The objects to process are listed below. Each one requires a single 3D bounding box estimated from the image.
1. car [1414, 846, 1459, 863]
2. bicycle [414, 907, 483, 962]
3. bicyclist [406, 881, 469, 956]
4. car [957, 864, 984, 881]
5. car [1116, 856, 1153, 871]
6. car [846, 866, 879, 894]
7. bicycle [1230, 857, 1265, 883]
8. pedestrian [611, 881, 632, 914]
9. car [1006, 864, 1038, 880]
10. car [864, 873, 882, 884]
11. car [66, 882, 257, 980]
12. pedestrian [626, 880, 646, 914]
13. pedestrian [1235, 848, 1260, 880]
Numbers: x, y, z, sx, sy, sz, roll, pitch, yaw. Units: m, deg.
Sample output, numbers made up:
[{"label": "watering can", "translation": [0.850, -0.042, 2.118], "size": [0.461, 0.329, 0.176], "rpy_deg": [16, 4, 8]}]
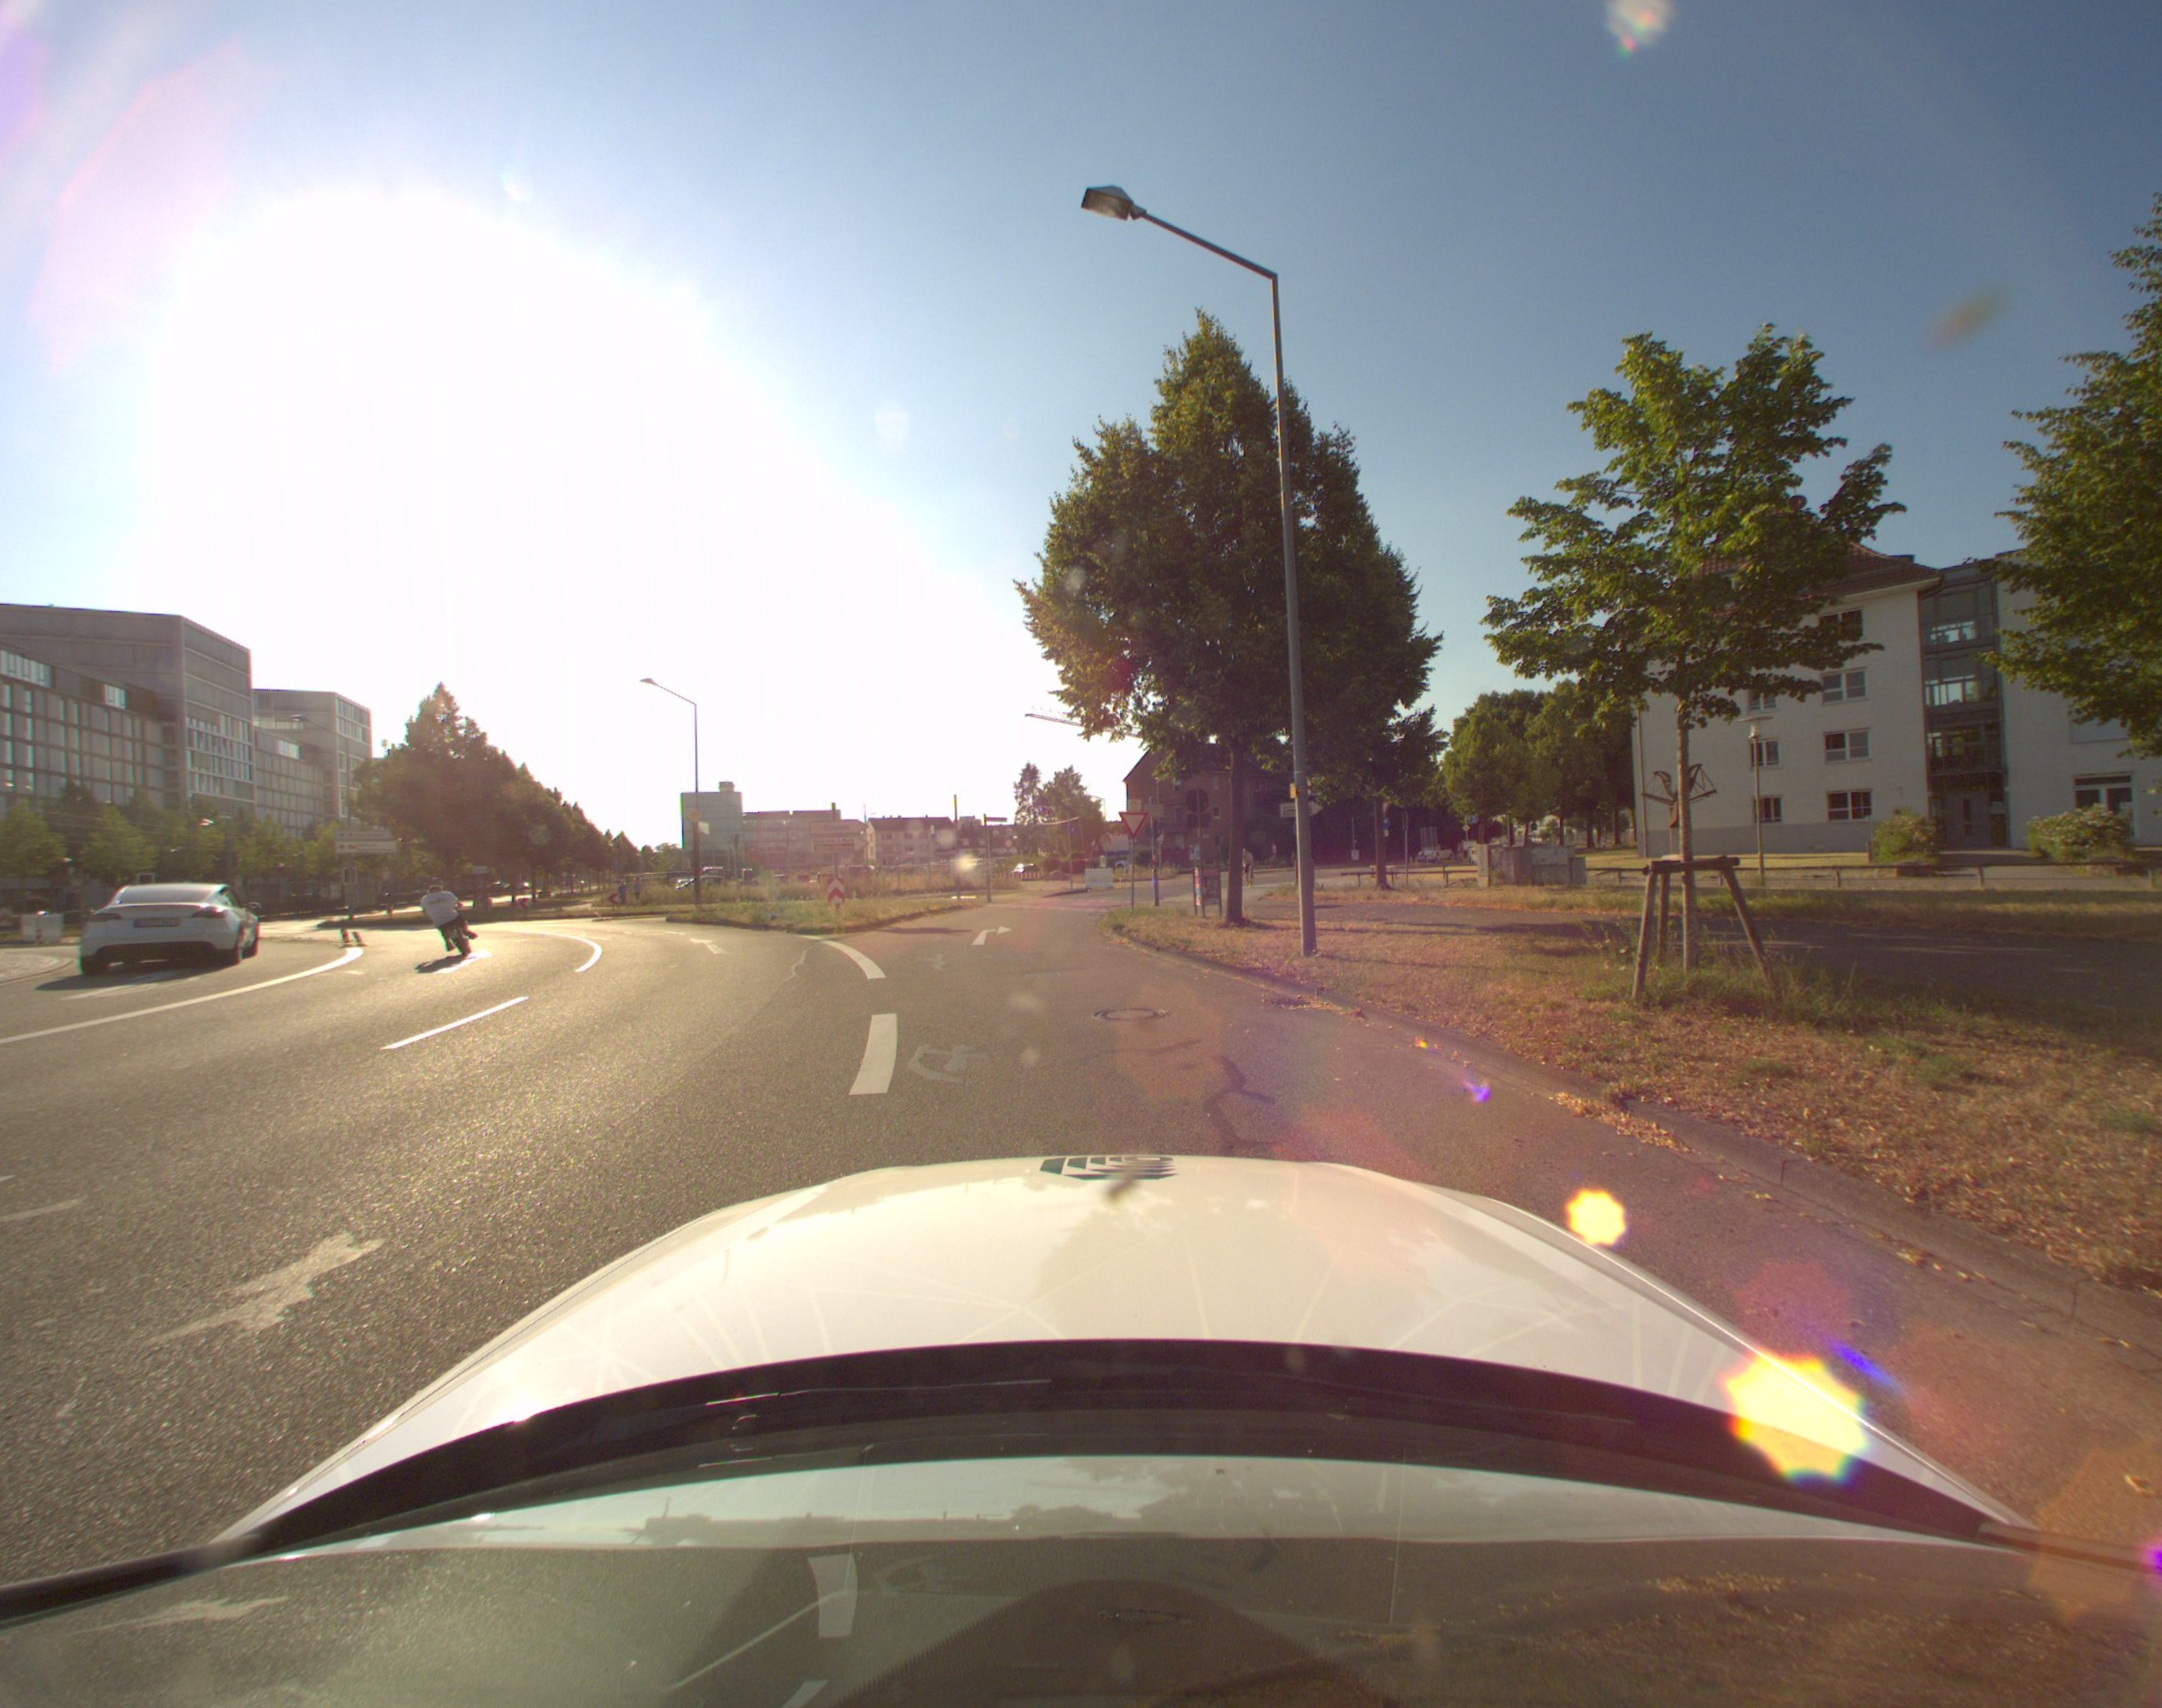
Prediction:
[{"label": "car", "translation": [31.649, 0.048, 72.477], "size": [3.631, 1.421, 1.750], "rpy_deg": [-2, 0, -26]}, {"label": "bicycle", "translation": [-12.540, 1.573, 16.197], "size": [0.854, 0.928, 1.702], "rpy_deg": [-2, -1, -31]}, {"label": "bicyclist", "translation": [-12.676, 1.249, 16.076], "size": [0.873, 1.410, 0.622], "rpy_deg": [-1, -1, -30]}, {"label": "car", "translation": [-13.677, 2.266, 100.629], "size": [1.874, 1.948, 3.962], "rpy_deg": [-2, -1, -29]}, {"label": "car", "translation": [6.357, 1.146, 96.565], "size": [3.959, 1.530, 2.007], "rpy_deg": [-3, -1, 13]}, {"label": "car", "translation": [-17.113, 2.000, 63.924], "size": [1.994, 2.013, 5.293], "rpy_deg": [-3, -1, -10]}, {"label": "bicycle", "translation": [7.495, 0.719, 36.625], "size": [1.924, 1.055, 0.528], "rpy_deg": [-3, 1, -44]}, {"label": "pedestrian", "translation": [-24.917, 2.332, 44.136], "size": [0.786, 1.709, 0.807], "rpy_deg": [-2, -1, -19]}, {"label": "car", "translation": [-6.339, 1.921, 86.816], "size": [2.004, 1.552, 3.966], "rpy_deg": [-2, -1, -25]}, {"label": "car", "translation": [-37.144, 4.335, 145.260], "size": [2.158, 1.838, 4.322], "rpy_deg": [-2, -1, -27]}, {"label": "car", "translation": [-17.858, 1.412, 16.043], "size": [2.011, 1.575, 3.952], "rpy_deg": [-2, -1, -42]}, {"label": "pedestrian", "translation": [-24.758, 2.382, 45.275], "size": [0.759, 1.775, 0.767], "rpy_deg": [-2, -1, -17]}, {"label": "pedestrian", "translation": [7.496, 0.459, 36.675], "size": [0.772, 1.391, 0.645], "rpy_deg": [-3, -2, -43]}]
